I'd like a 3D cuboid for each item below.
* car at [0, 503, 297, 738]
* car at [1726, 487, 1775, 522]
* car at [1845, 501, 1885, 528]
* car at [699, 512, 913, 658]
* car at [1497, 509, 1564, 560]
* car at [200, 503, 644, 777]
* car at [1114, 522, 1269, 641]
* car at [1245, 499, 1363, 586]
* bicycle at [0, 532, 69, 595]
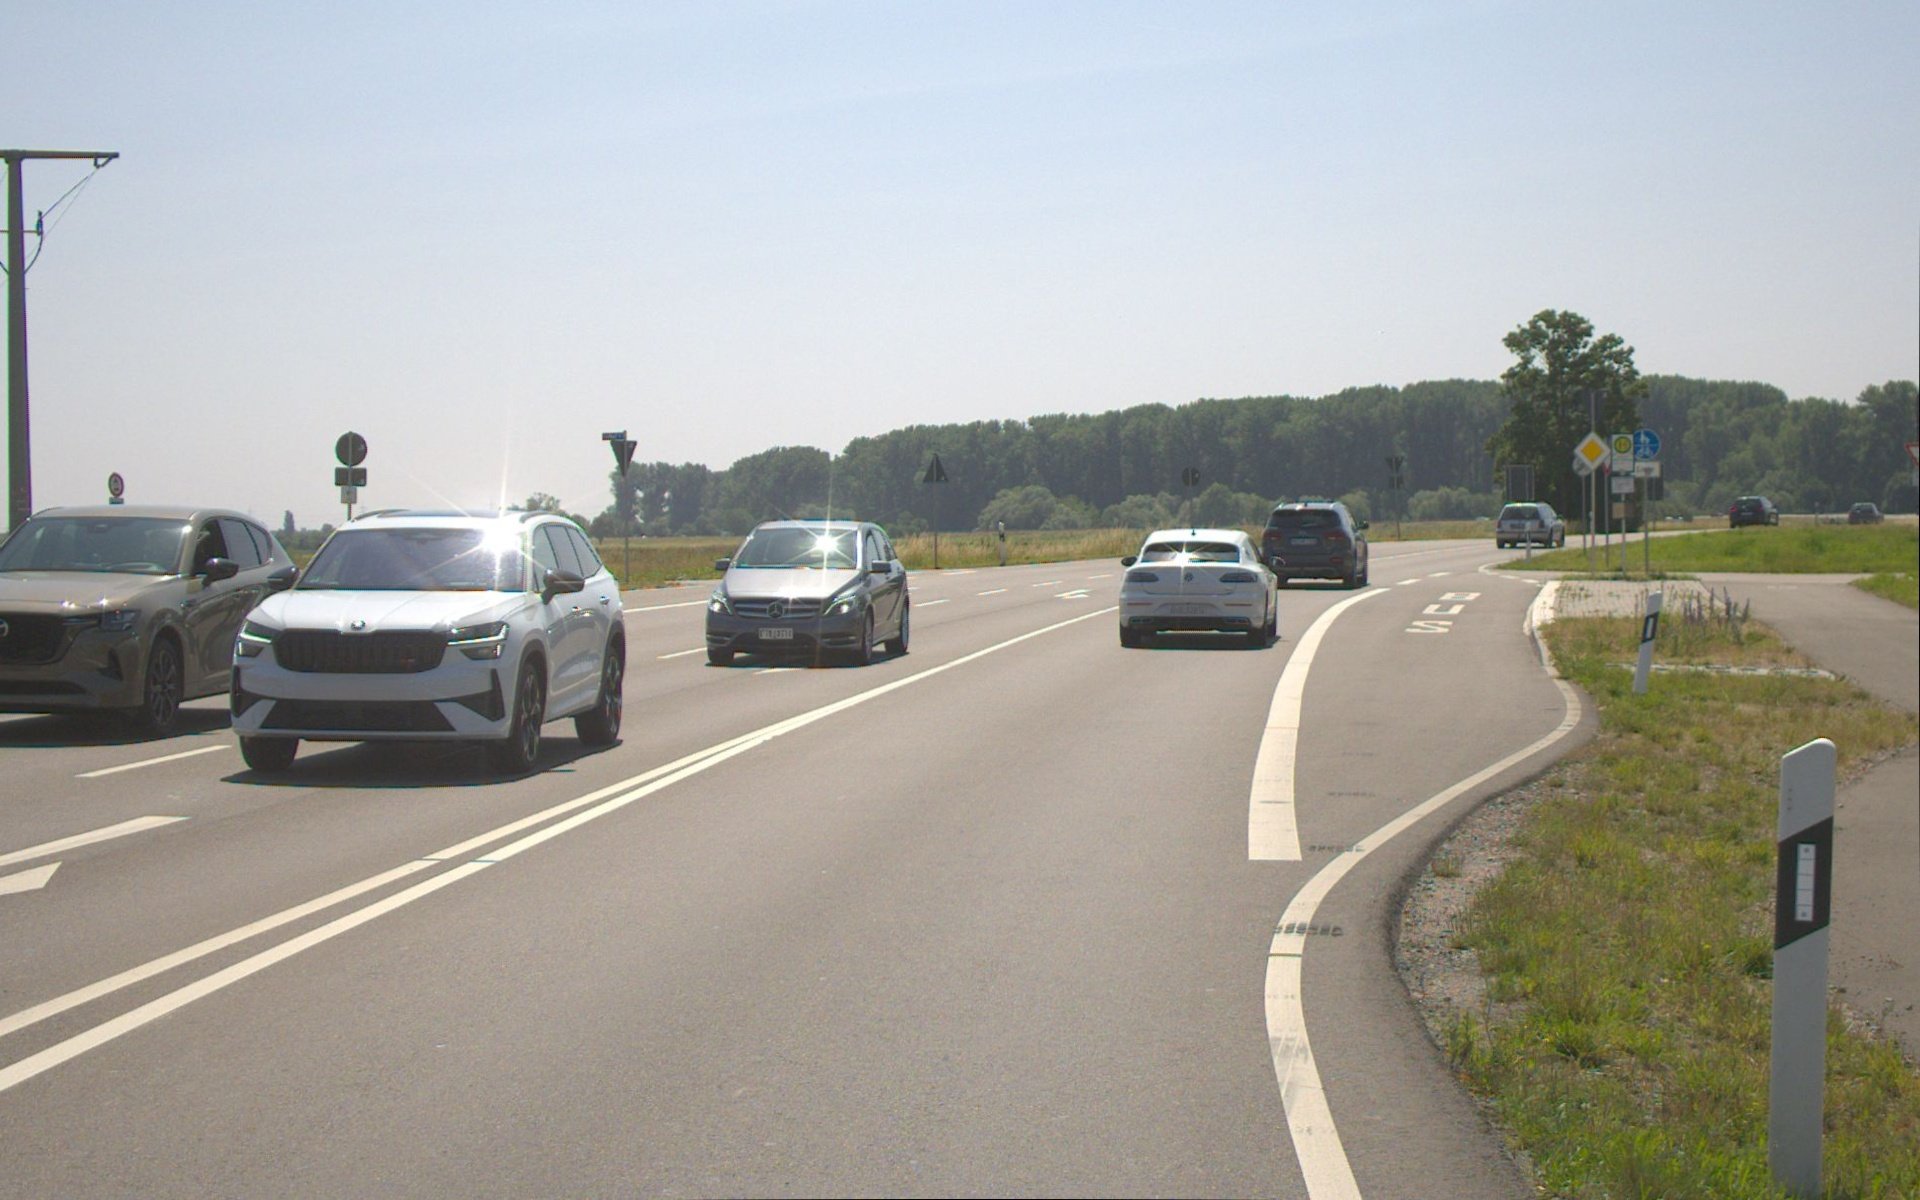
[{"bbox_3d":[-6.614,0.084,26.452,1.961,1.644,4.790,0,1,2],"label":"car"},{"bbox_3d":[36.753,-4.423,159.788,1.801,1.471,4.410,-2,0,18],"label":"car"},{"bbox_3d":[53.184,-5.023,202.064,1.802,1.516,3.878,2,3,22],"label":"car"},{"bbox_3d":[-1.686,-0.213,39.043,1.732,1.550,4.379,1,1,7],"label":"car"},{"bbox_3d":[18.109,-2.067,109.048,1.801,1.424,4.090,-3,-1,13],"label":"car"},{"bbox_3d":[-3.490,0.204,23.265,1.878,1.645,4.843,0,1,5],"label":"car"},{"bbox_3d":[2.999,-0.236,43.736,1.848,1.428,4.607,0,0,5],"label":"car"},{"bbox_3d":[6.898,-1.123,68.642,1.935,1.611,4.376,1,0,11],"label":"car"},{"bbox_3d":[-21.951,-0.818,79.166,2.608,1.367,0.902,-2,-1,-5],"label":"bicycle"}]
